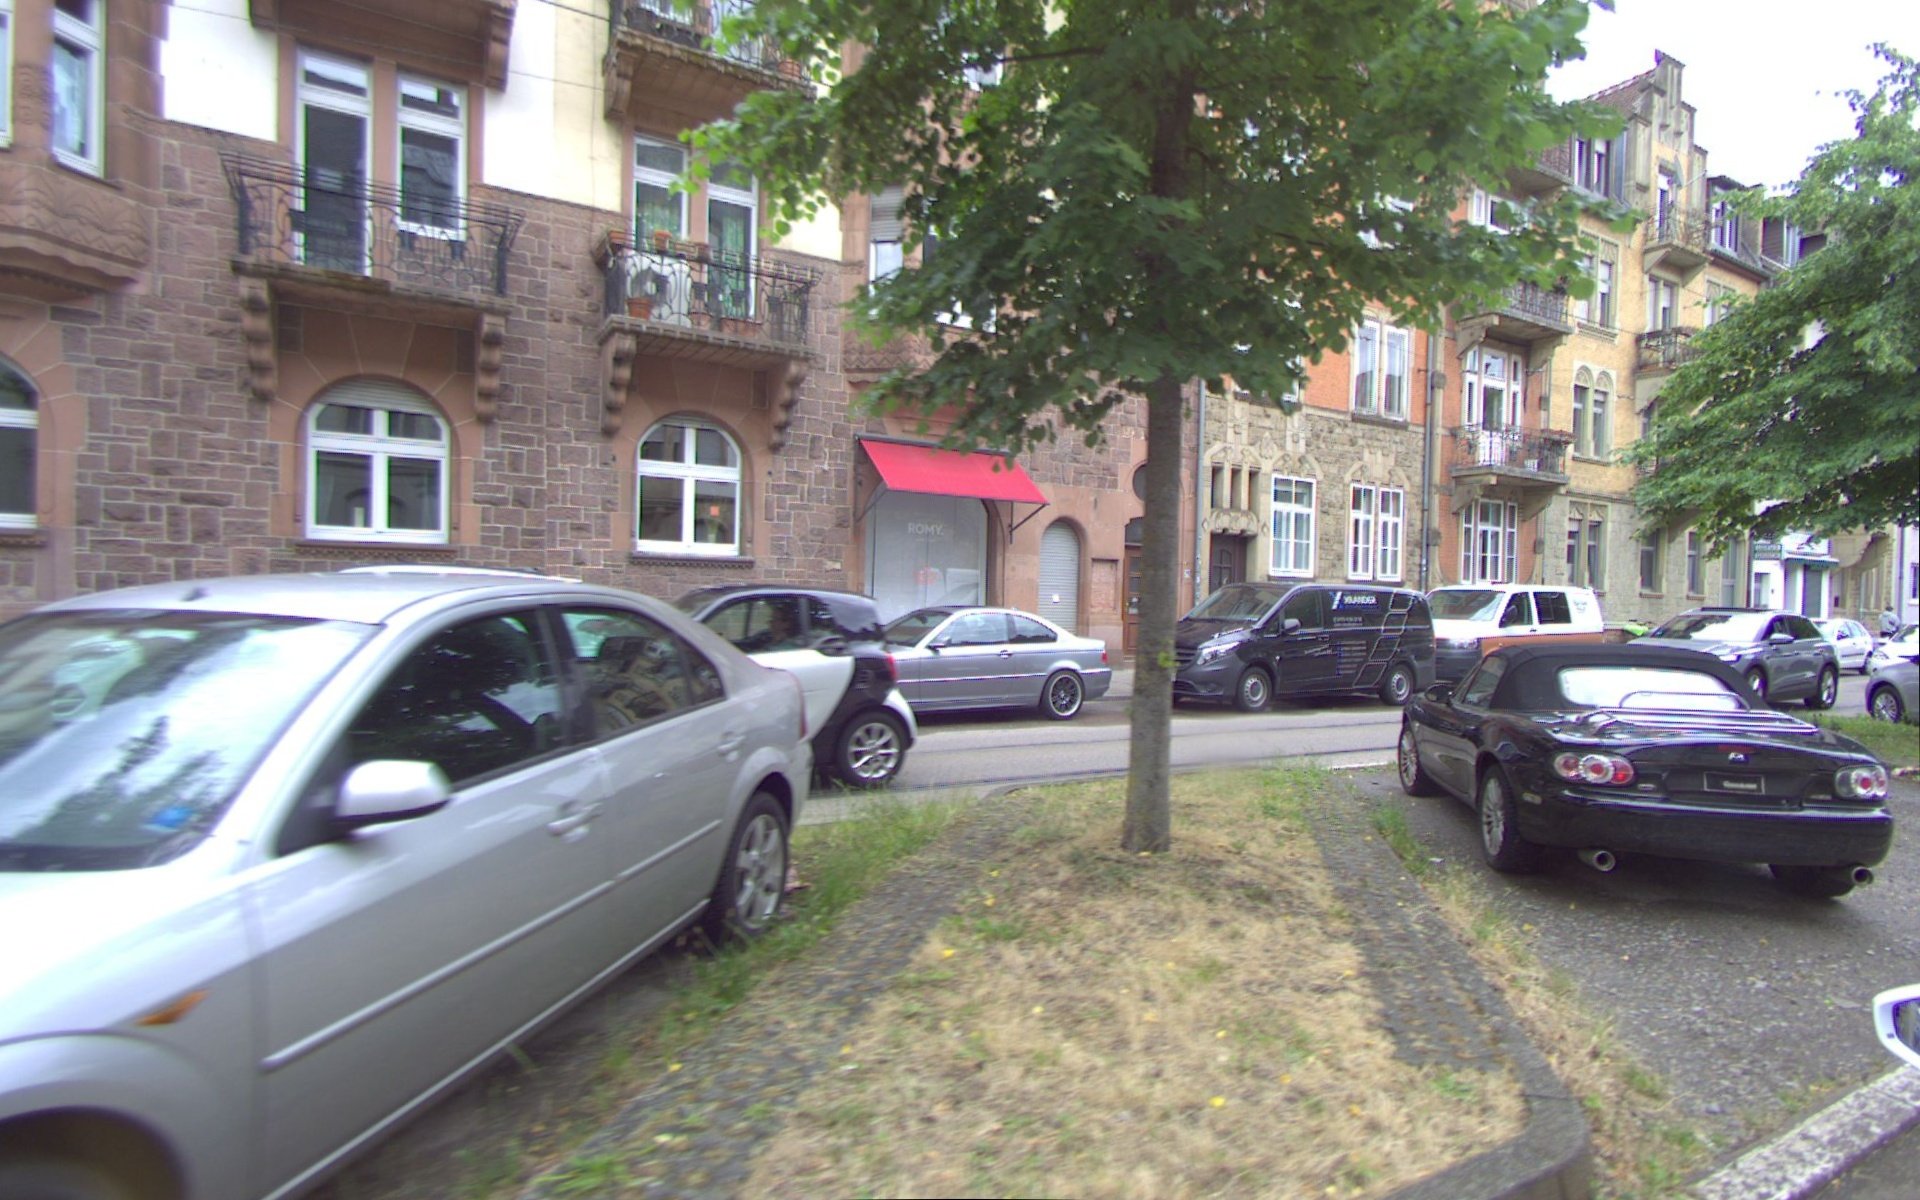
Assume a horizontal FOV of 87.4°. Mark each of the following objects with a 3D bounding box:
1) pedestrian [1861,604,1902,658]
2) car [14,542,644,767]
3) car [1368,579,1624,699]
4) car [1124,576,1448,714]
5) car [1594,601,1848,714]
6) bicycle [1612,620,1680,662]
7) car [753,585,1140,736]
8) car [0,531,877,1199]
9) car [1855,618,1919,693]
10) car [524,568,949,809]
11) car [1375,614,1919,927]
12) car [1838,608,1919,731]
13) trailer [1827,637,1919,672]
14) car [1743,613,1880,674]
[{"bbox_3d":[31.278,1.034,34.099,0.890,1.790,0.793,1,0,-31],"label":"pedestrian"},{"bbox_3d":[-5.436,0.442,9.283,4.502,1.648,1.731,2,0,-32],"label":"car"},{"bbox_3d":[10.024,0.694,18.668,5.036,1.978,1.871,2,0,-32],"label":"car"},{"bbox_3d":[5.029,0.632,15.244,5.060,1.805,1.804,2,0,-32],"label":"car"},{"bbox_3d":[12.575,0.890,16.524,4.495,1.600,1.795,2,0,-32],"label":"car"},{"bbox_3d":[18.897,1.107,27.660,2.235,1.087,0.707,1,1,-33],"label":"bicycle"},{"bbox_3d":[-0.088,0.678,12.366,4.502,1.562,1.731,2,0,-32],"label":"car"},{"bbox_3d":[-1.770,0.574,2.893,1.722,1.386,4.670,2,1,12],"label":"car"},{"bbox_3d":[21.731,1.218,22.211,4.570,1.524,1.635,2,0,-32],"label":"car"},{"bbox_3d":[-1.730,0.582,7.822,2.860,1.535,1.596,2,0,-31],"label":"car"},{"bbox_3d":[3.873,0.762,6.382,1.634,1.218,3.965,2,1,13],"label":"car"},{"bbox_3d":[12.638,0.900,11.672,1.760,1.504,4.120,2,1,10],"label":"car"},{"bbox_3d":[26.200,1.522,28.622,3.043,0.904,1.446,1,-1,-32],"label":"trailer"},{"bbox_3d":[22.360,1.108,26.342,3.880,1.462,1.625,1,1,-32],"label":"car"}]
